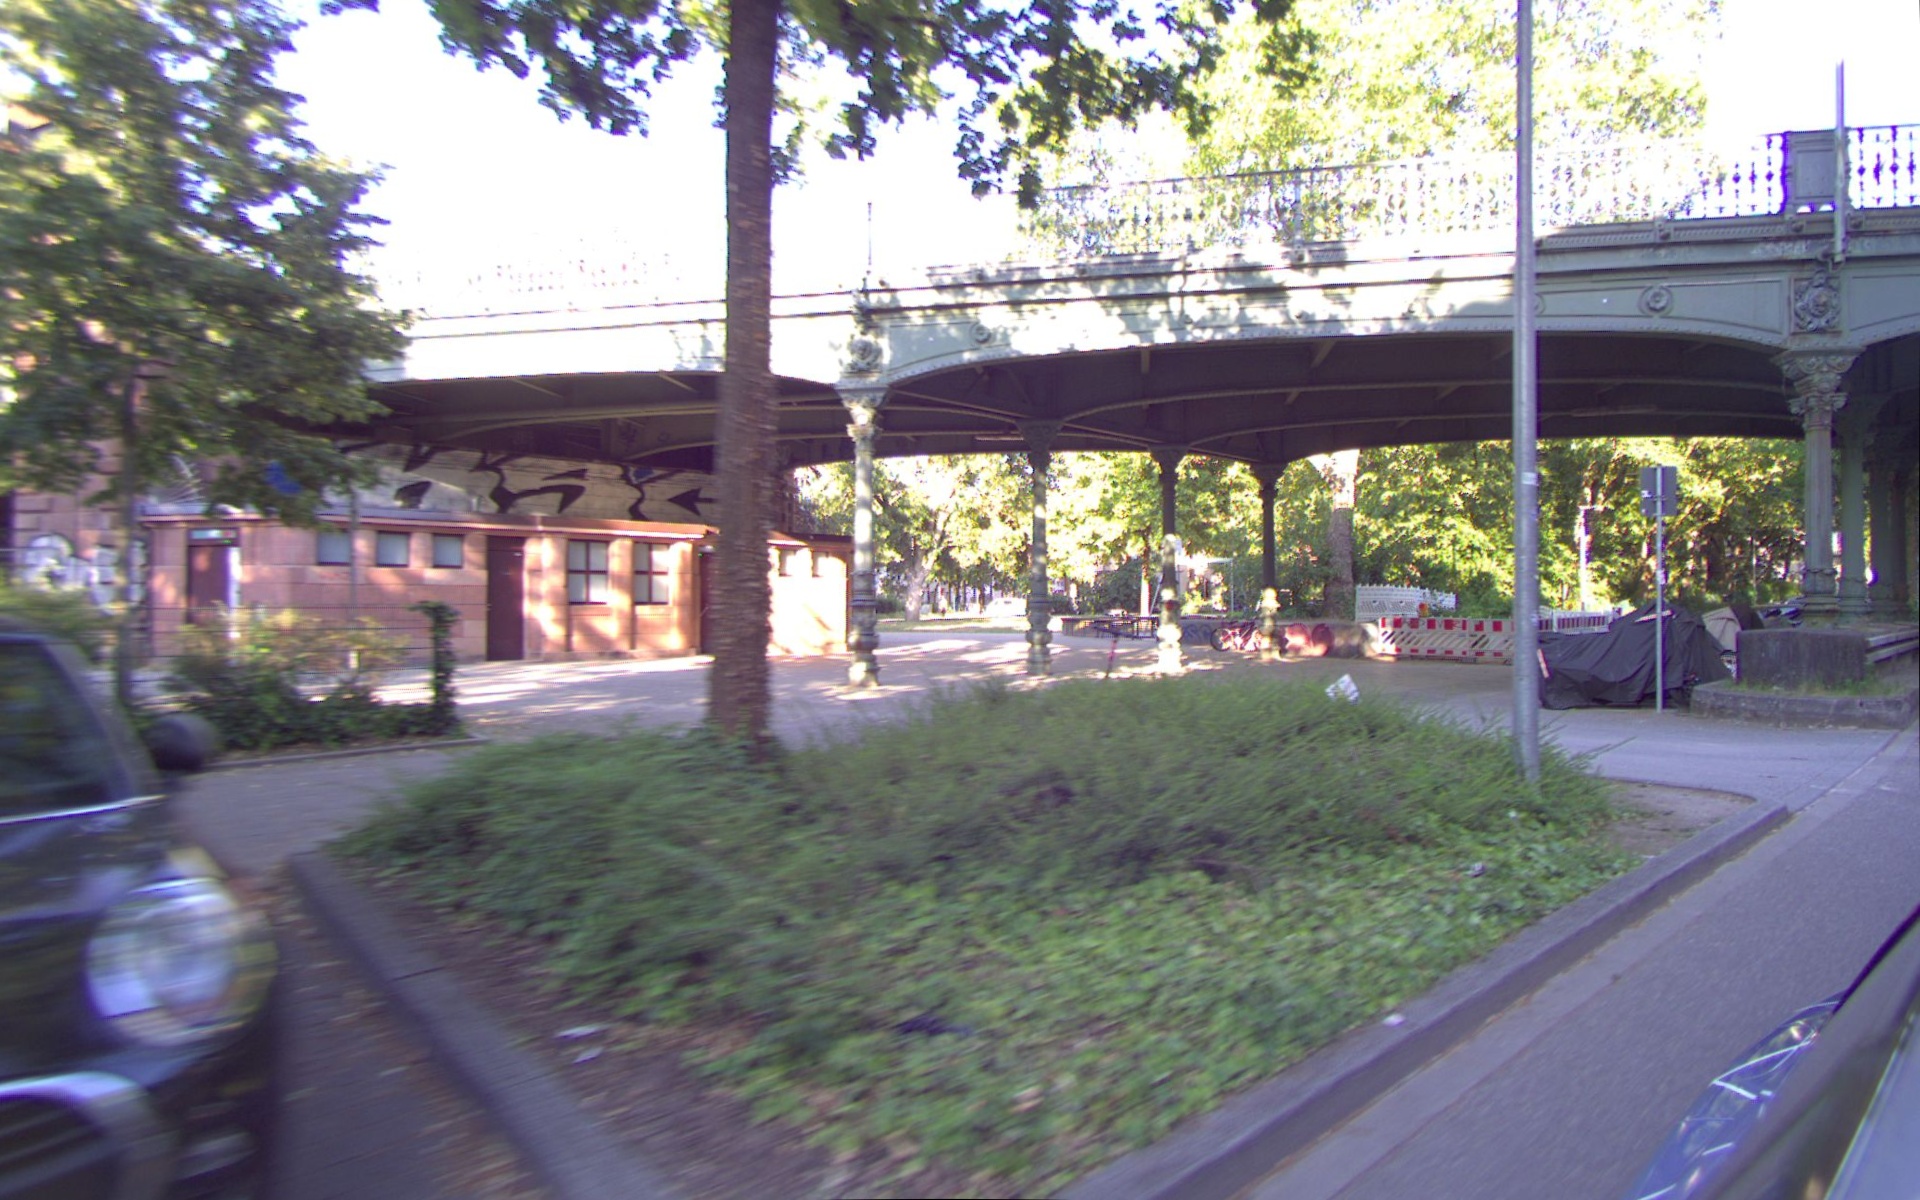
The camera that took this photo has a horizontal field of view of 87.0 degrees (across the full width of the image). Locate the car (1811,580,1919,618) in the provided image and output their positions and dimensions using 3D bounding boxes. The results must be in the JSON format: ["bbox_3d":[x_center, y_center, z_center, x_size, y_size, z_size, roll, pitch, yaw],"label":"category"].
[{"bbox_3d":[41.591,-0.031,46.177,1.637,1.594,3.993,-2,0,-41],"label":"car"}]

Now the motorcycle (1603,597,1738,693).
[{"bbox_3d":[11.345,0.687,16.213,0.698,1.426,1.608,-2,0,-23],"label":"motorcycle"}]

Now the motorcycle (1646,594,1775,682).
[{"bbox_3d":[12.900,0.624,17.444,0.698,1.426,1.608,-2,0,-23],"label":"motorcycle"}]

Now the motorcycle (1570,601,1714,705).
[{"bbox_3d":[10.015,0.742,14.927,0.698,1.426,1.608,-2,0,-23],"label":"motorcycle"}]

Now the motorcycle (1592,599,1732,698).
[{"bbox_3d":[10.769,0.711,15.577,0.698,1.426,1.608,-2,0,-23],"label":"motorcycle"}]

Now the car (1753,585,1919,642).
[{"bbox_3d":[27.890,0.385,31.685,1.704,1.626,4.596,-2,1,-39],"label":"car"}]

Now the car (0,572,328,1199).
[{"bbox_3d":[-3.091,0.692,2.577,3.781,1.490,1.610,1,2,43],"label":"car"}]

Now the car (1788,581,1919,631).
[{"bbox_3d":[33.360,0.209,37.037,1.877,1.717,4.533,-2,0,-45],"label":"car"}]

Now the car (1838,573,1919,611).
[{"bbox_3d":[47.036,-0.409,50.980,1.767,1.780,3.995,-2,0,-39],"label":"car"}]

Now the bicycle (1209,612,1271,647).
[{"bbox_3d":[7.554,0.791,27.347,1.592,0.869,0.521,2,1,16],"label":"bicycle"}]

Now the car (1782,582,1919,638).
[{"bbox_3d":[29.988,0.330,33.339,4.372,1.730,1.878,-2,0,43],"label":"car"}]

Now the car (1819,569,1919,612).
[{"bbox_3d":[45.078,-0.467,49.344,1.842,1.948,4.675,-2,3,-45],"label":"car"}]

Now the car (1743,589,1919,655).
[{"bbox_3d":[23.276,0.564,26.366,1.648,1.597,4.375,-2,0,-45],"label":"car"}]

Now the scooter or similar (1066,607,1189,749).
[{"bbox_3d":[1.717,0.750,10.301,1.302,1.314,0.478,-2,0,-41],"label":"scooter or similar"}]

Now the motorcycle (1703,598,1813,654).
[{"bbox_3d":[17.440,0.572,22.159,1.700,1.147,0.710,-2,0,13],"label":"motorcycle"}]

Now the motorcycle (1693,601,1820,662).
[{"bbox_3d":[15.966,0.636,20.348,1.817,1.147,0.844,-2,0,24],"label":"motorcycle"}]

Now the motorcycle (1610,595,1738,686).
[{"bbox_3d":[12.015,0.657,17.083,0.698,1.426,1.608,-2,0,-23],"label":"motorcycle"}]

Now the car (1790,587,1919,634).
[{"bbox_3d":[31.721,0.362,35.103,1.846,1.552,4.375,-2,0,-45],"label":"car"}]

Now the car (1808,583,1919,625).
[{"bbox_3d":[36.722,0.178,40.586,1.562,1.594,4.021,-2,0,-45],"label":"car"}]

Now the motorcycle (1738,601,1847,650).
[{"bbox_3d":[18.910,0.566,23.027,1.700,1.043,0.809,-2,0,13],"label":"motorcycle"}]

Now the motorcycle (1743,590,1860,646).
[{"bbox_3d":[20.087,0.429,24.202,1.913,1.253,0.898,-2,0,22],"label":"motorcycle"}]
